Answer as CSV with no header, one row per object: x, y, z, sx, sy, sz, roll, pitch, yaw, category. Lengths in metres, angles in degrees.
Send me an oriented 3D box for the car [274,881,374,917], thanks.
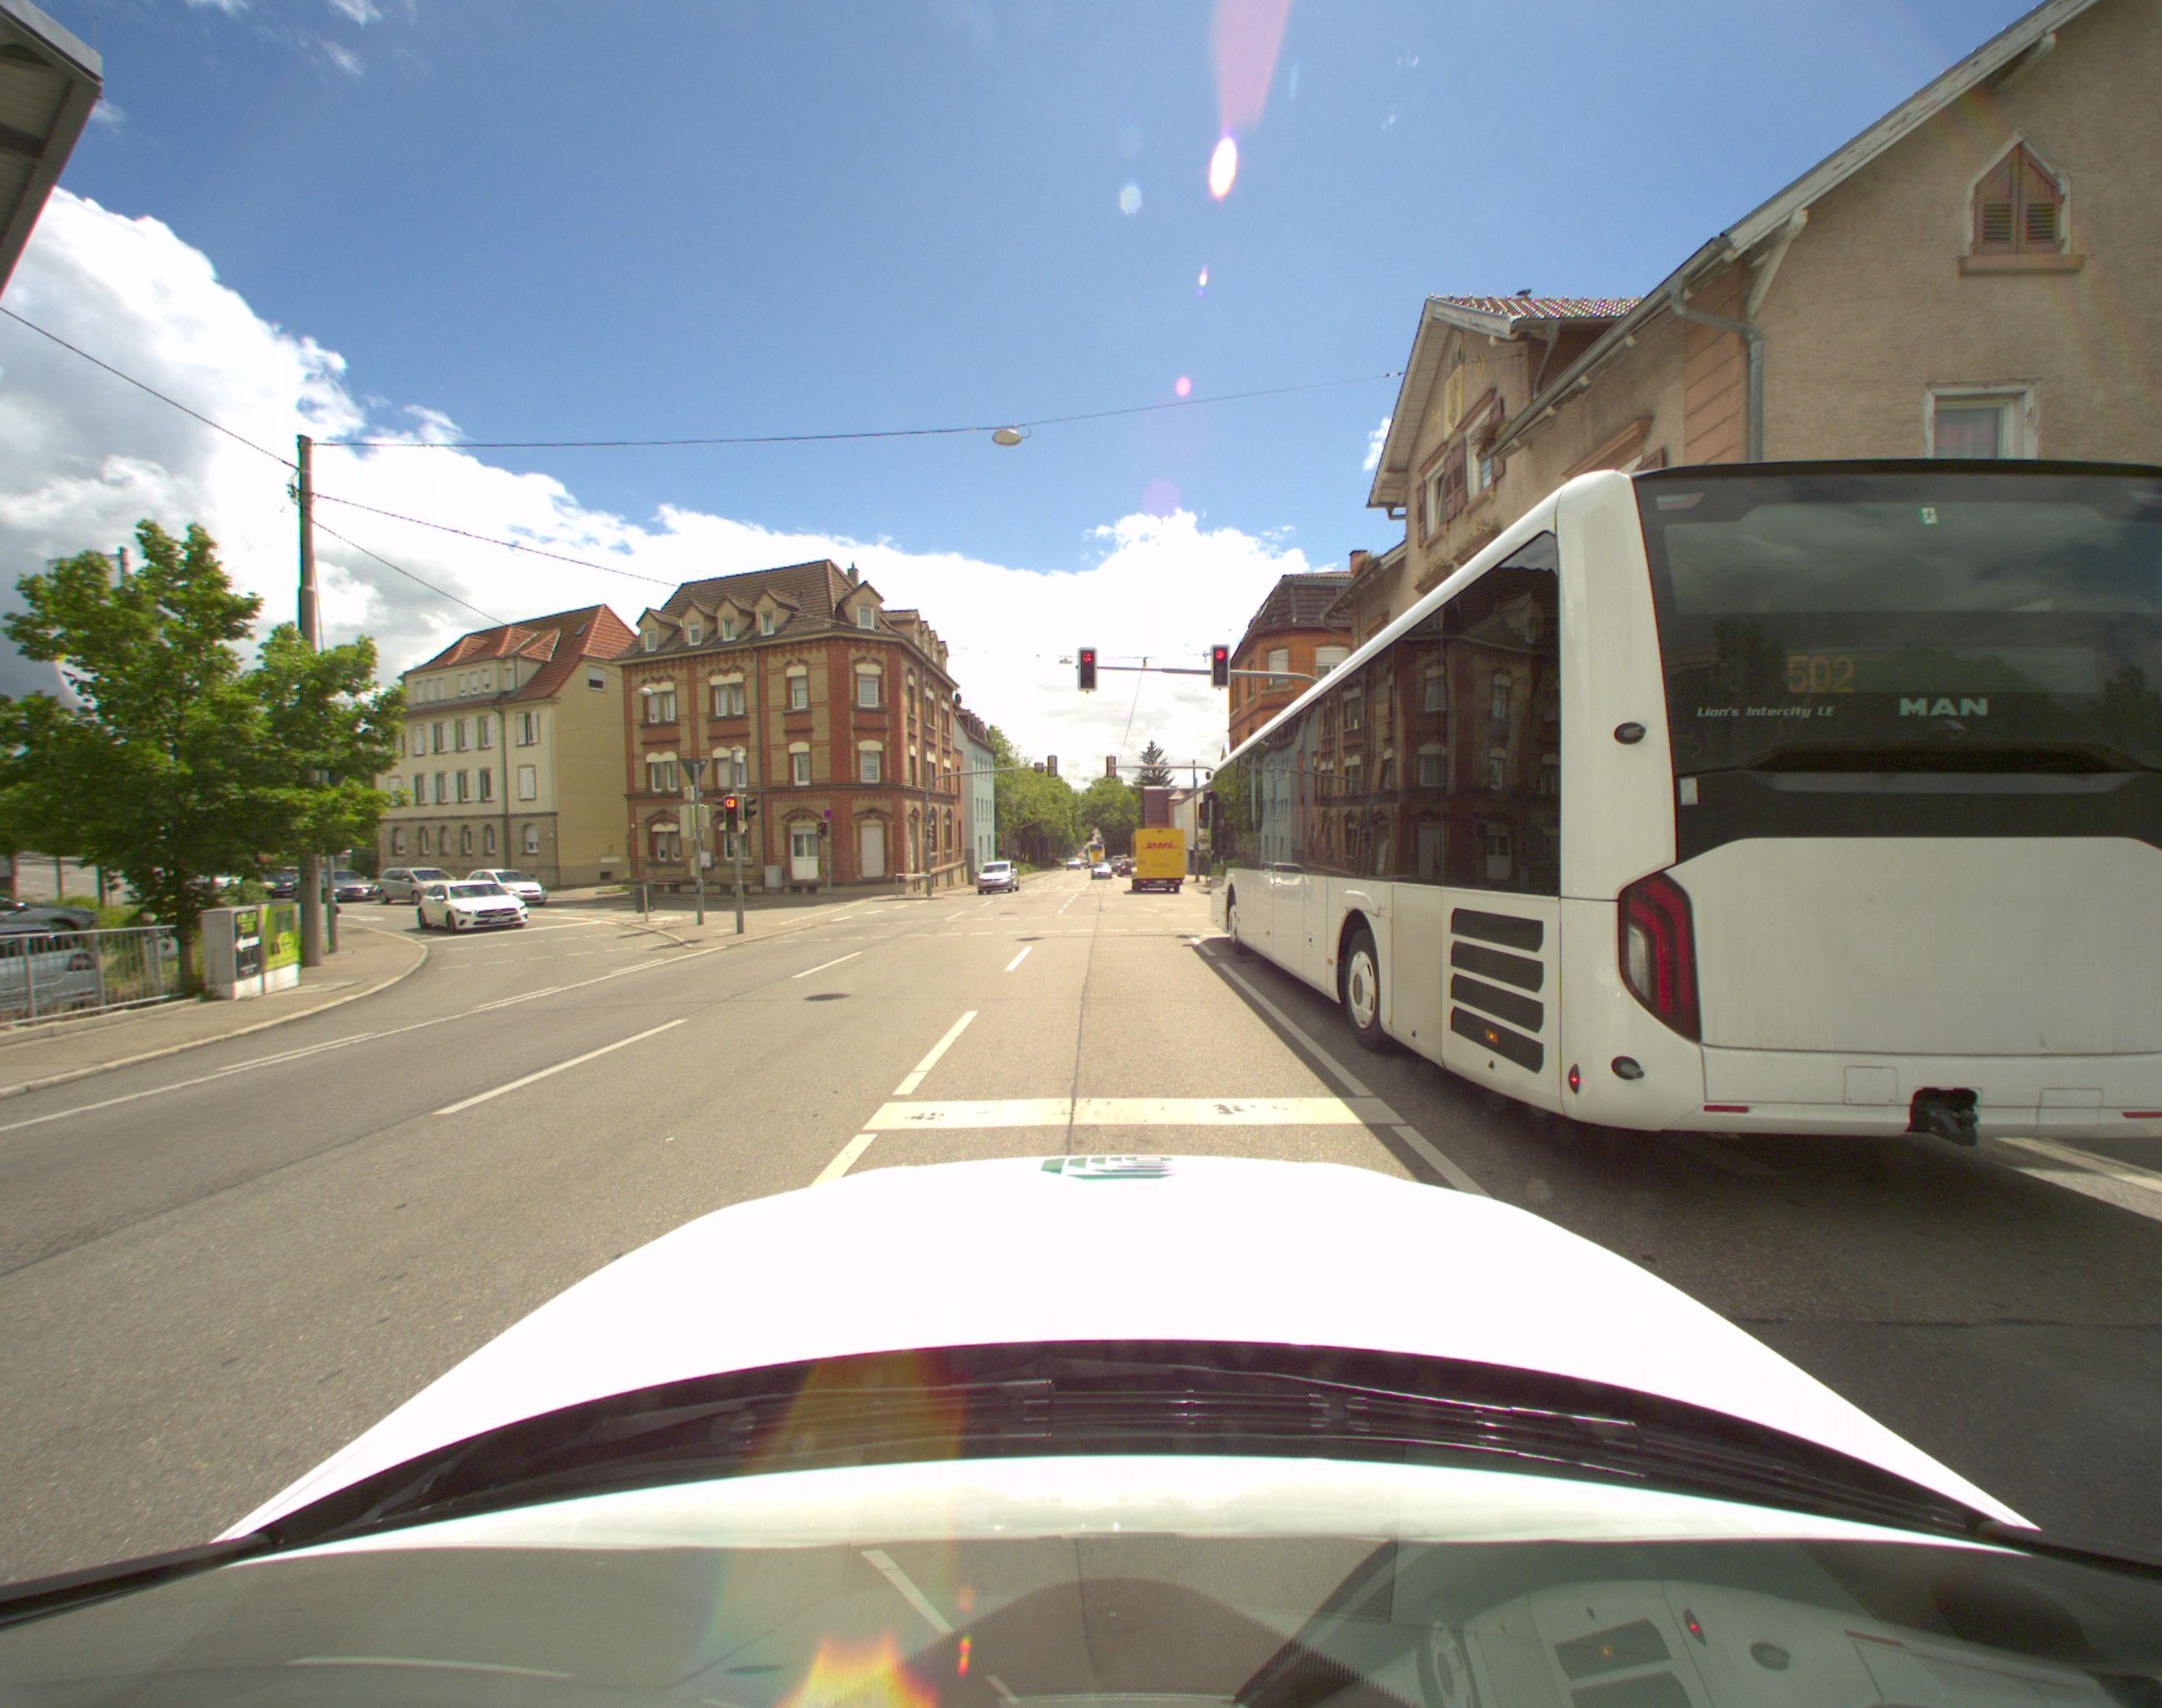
-35.449,2.076,38.134,3.951,1.519,2.011,-1,0,24,car

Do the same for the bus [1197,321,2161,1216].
3.502,-0.295,9.448,2.893,3.510,12.492,0,0,2,bus

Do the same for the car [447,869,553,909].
-23.596,1.390,33.056,3.951,1.497,1.711,-1,0,24,car

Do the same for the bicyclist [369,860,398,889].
-37.738,1.106,44.049,1.065,1.499,0.592,-2,0,10,bicyclist

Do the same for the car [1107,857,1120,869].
4.023,1.121,101.381,1.603,1.376,4.002,-2,0,2,car

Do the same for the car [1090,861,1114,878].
1.806,1.289,69.477,1.858,1.367,4.549,-2,0,2,car

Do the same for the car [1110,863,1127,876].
4.172,1.689,91.230,1.858,1.367,4.549,-2,0,2,car

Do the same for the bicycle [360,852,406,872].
-37.728,0.433,44.044,2.172,1.019,0.608,-2,0,9,bicycle

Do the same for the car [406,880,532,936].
-18.241,1.541,24.211,4.334,1.447,1.875,-2,0,37,car

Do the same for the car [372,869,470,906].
-29.204,1.467,36.042,3.951,1.519,1.757,-1,0,24,car

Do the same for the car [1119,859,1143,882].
4.756,1.514,77.378,1.987,2.013,3.999,-2,0,0,car

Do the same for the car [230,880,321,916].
-39.690,2.125,40.110,4.291,1.586,2.012,-1,0,29,car

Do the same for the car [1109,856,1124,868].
5.608,1.248,129.623,2.086,1.830,4.140,-1,0,-1,car

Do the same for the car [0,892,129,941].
-29.249,1.730,22.208,1.795,1.186,4.025,-1,0,31,car

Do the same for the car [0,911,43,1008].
-19.706,1.833,14.147,3.744,1.523,1.526,-1,0,30,car

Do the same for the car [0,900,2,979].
-23.398,1.736,16.426,3.371,1.575,1.526,-1,0,30,car

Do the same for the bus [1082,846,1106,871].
1.936,0.740,128.951,3.291,3.631,11.238,-2,0,-1,bus

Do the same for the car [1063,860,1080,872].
-1.321,1.779,118.765,2.199,1.613,4.549,-2,0,2,car

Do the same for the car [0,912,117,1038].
-16.111,1.741,12.178,3.638,1.575,1.766,-1,-2,34,car

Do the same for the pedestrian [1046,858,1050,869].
-5.512,1.623,136.861,0.604,1.758,0.653,-2,0,0,pedestrian

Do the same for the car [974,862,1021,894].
-4.404,1.251,43.562,1.928,1.563,4.390,-2,0,2,car

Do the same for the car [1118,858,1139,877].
4.456,1.257,77.371,1.812,1.784,4.002,-2,0,2,car

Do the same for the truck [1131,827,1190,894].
3.676,0.323,38.977,2.530,2.913,6.577,0,-1,3,truck
